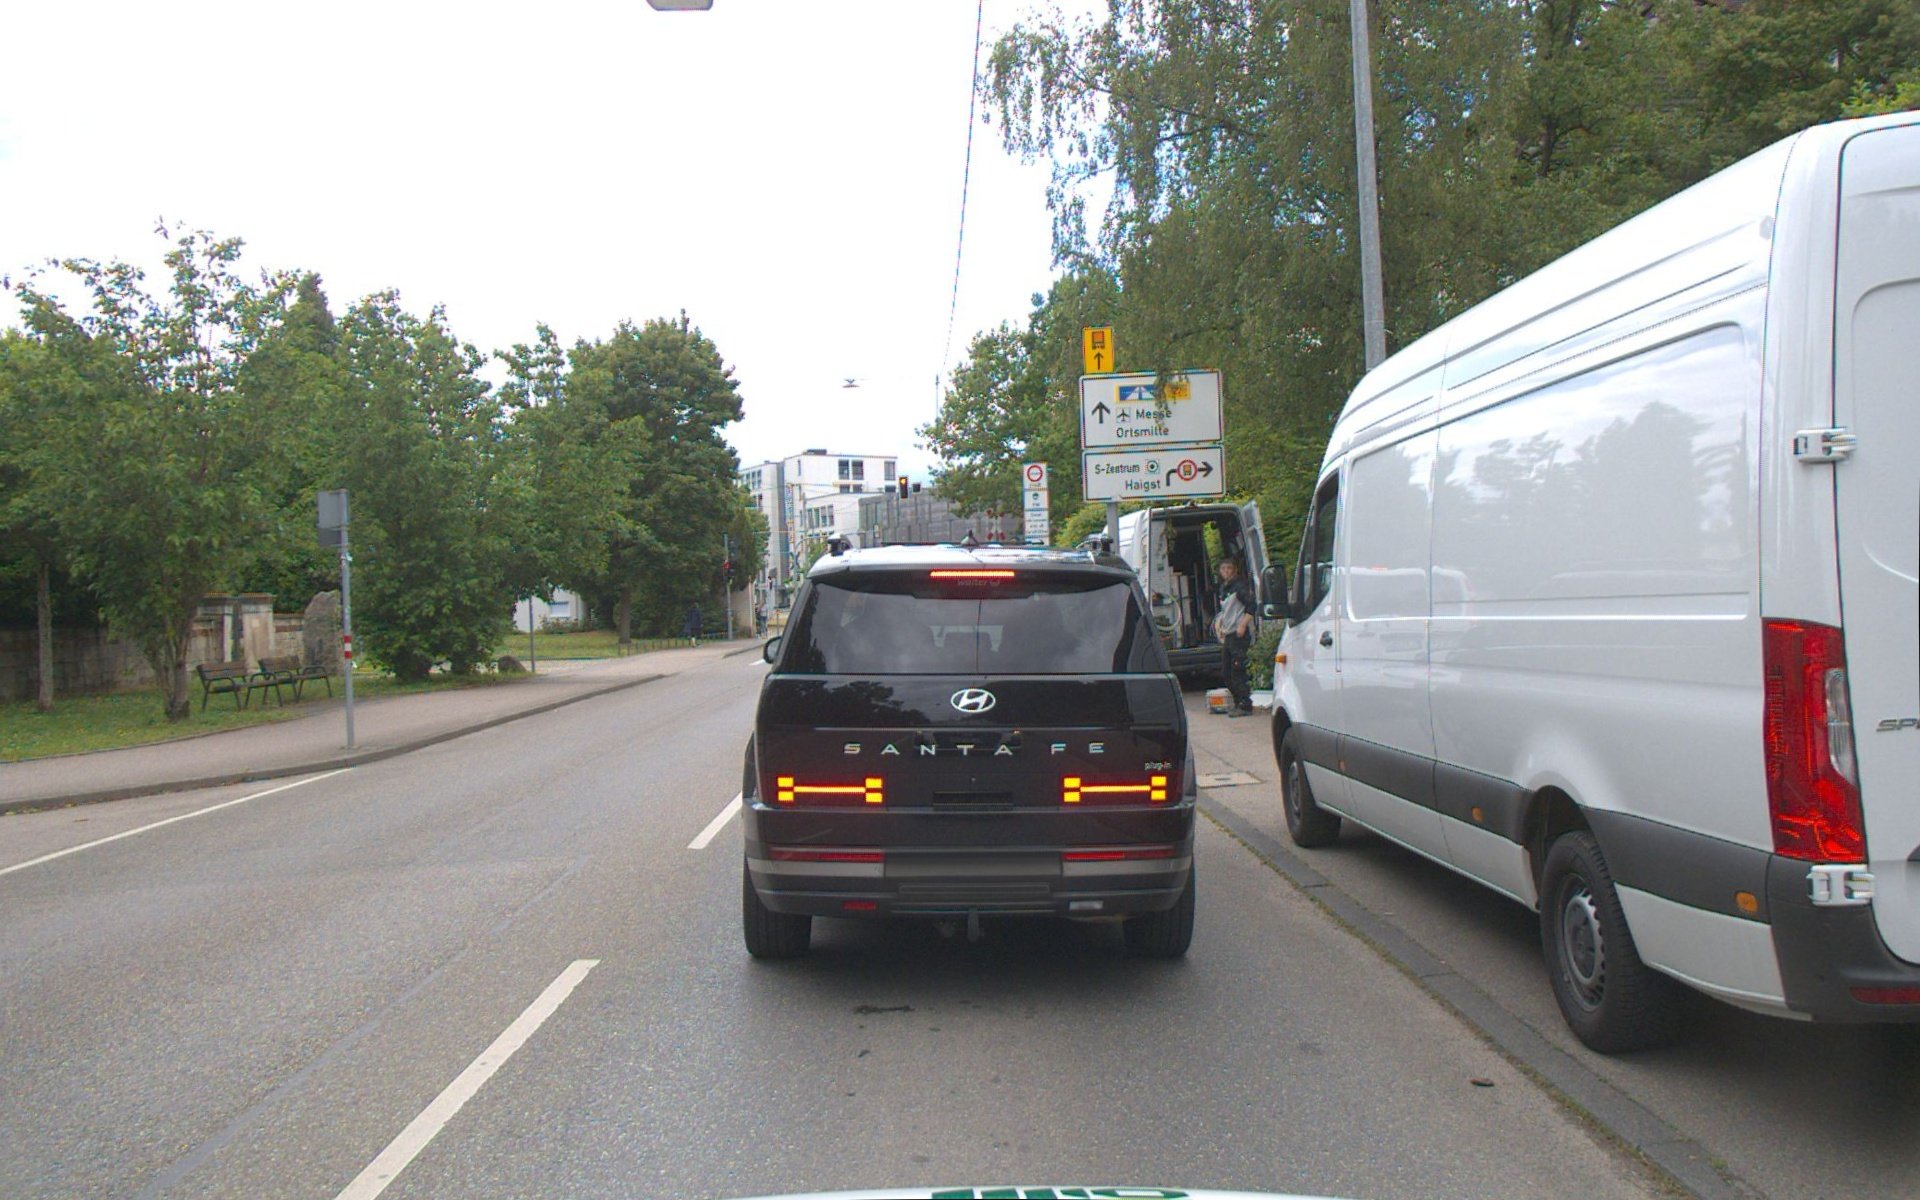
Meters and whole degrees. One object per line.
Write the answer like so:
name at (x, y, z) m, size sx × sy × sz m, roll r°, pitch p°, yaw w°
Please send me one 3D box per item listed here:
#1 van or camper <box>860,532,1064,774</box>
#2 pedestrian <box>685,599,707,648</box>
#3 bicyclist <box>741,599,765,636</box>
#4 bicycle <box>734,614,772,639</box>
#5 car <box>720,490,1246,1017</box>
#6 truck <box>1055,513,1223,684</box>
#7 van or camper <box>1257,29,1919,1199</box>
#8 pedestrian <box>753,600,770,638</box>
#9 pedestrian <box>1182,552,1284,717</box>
van or camper at (-0.011, 0.456, 16.354) m, size 1.719 × 2.049 × 3.999 m, roll -2°, pitch 0°, yaw -1°
pedestrian at (-9.481, 0.838, 59.364) m, size 0.724 × 1.745 × 0.791 m, roll -2°, pitch 0°, yaw -8°
bicyclist at (-9.752, 0.805, 77.894) m, size 0.813 × 1.721 × 0.717 m, roll 1°, pitch -1°, yaw 31°
bicycle at (-9.755, 1.252, 77.873) m, size 1.738 × 1.112 × 0.696 m, roll 1°, pitch -1°, yaw 32°
car at (0.054, 0.534, 7.833) m, size 1.851 × 1.851 × 3.999 m, roll 0°, pitch 0°, yaw -1°
truck at (2.991, -0.014, 28.858) m, size 1.904 × 2.606 × 5.211 m, roll -3°, pitch 0°, yaw -4°
van or camper at (2.912, 0.003, 7.050) m, size 1.953 × 2.665 × 6.540 m, roll -2°, pitch 0°, yaw -1°
pedestrian at (-9.164, 0.873, 76.318) m, size 0.724 × 1.745 × 0.791 m, roll -2°, pitch 0°, yaw -8°
pedestrian at (3.136, 0.380, 18.968) m, size 0.866 × 1.828 × 0.748 m, roll -1°, pitch 0°, yaw -43°
